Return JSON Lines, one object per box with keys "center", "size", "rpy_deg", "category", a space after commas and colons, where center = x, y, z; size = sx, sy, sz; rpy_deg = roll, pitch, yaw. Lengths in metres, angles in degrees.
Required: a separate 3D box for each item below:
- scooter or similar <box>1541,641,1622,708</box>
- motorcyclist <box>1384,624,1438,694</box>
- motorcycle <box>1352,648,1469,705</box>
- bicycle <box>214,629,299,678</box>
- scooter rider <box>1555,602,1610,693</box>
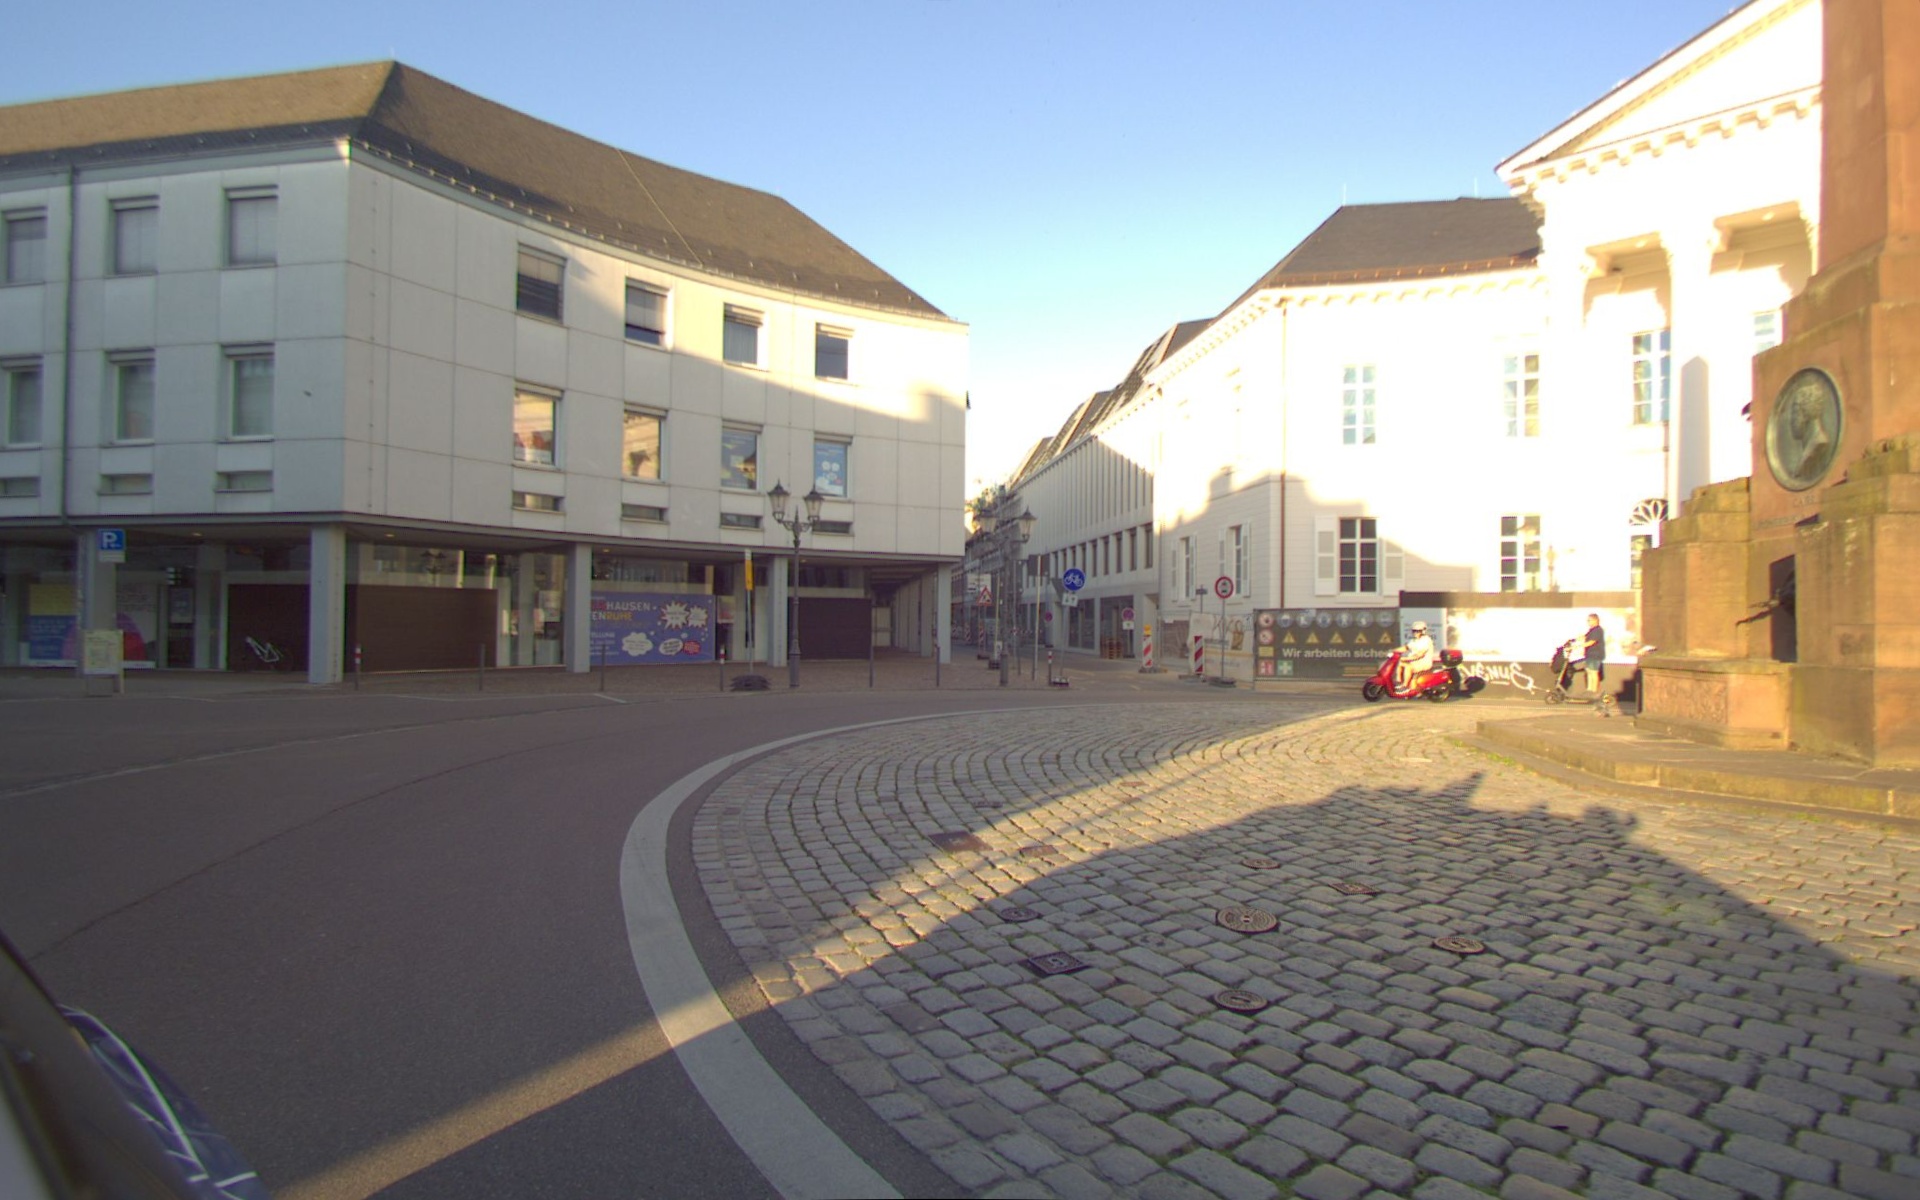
{"center": [12.502, 1.479, 20.394], "size": [1.353, 1.281, 0.681], "rpy_deg": [0, -2, 30], "category": "scooter or similar"}
{"center": [8.972, 1.164, 20.171], "size": [0.852, 1.353, 0.801], "rpy_deg": [0, -1, 15], "category": "motorcyclist"}
{"center": [8.941, 1.512, 20.174], "size": [2.014, 1.053, 0.801], "rpy_deg": [0, -1, 15], "category": "motorcycle"}
{"center": [-17.447, 1.316, 25.102], "size": [1.927, 1.164, 0.479], "rpy_deg": [0, -1, 10], "category": "bicycle"}
{"center": [12.529, 0.938, 20.395], "size": [0.905, 1.776, 0.679], "rpy_deg": [0, -2, 29], "category": "scooter rider"}
